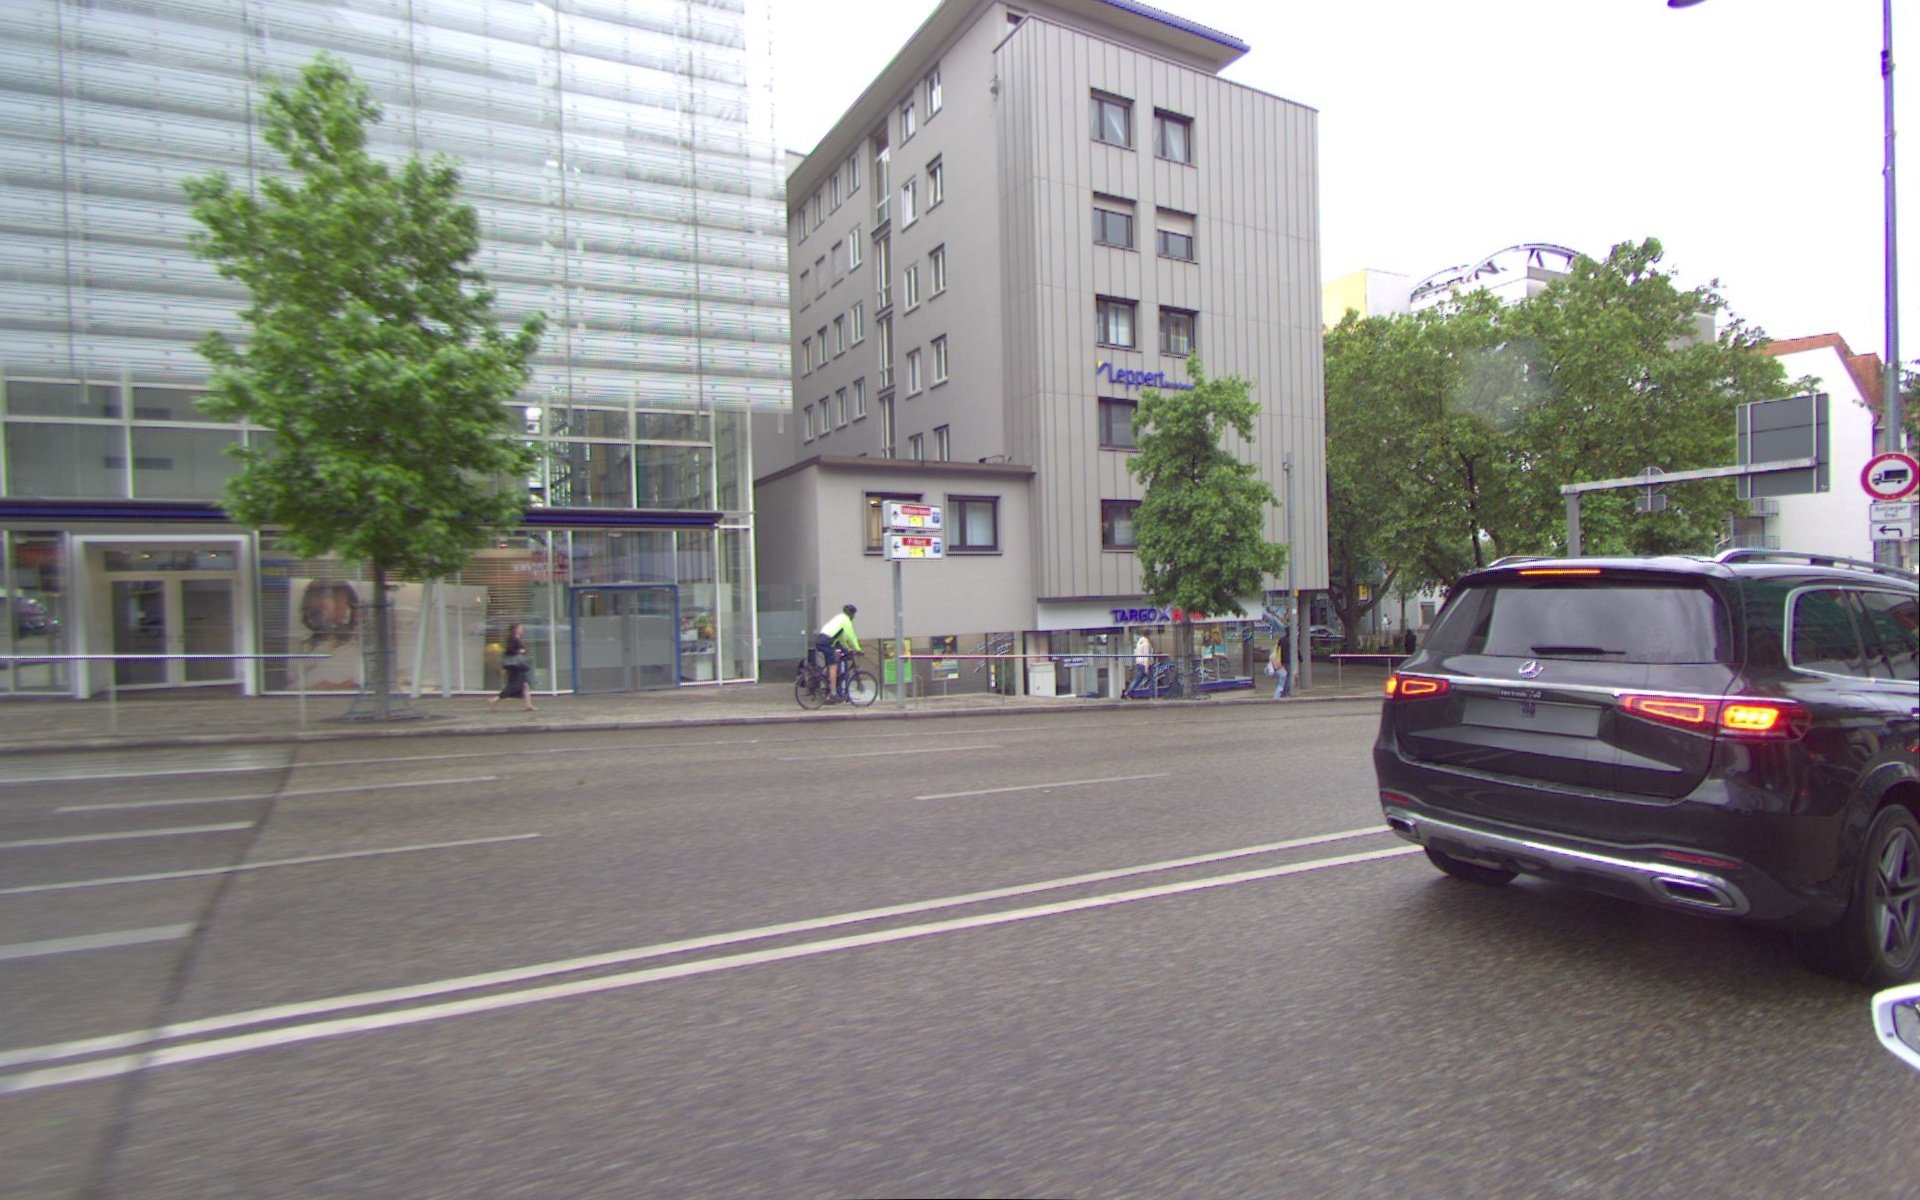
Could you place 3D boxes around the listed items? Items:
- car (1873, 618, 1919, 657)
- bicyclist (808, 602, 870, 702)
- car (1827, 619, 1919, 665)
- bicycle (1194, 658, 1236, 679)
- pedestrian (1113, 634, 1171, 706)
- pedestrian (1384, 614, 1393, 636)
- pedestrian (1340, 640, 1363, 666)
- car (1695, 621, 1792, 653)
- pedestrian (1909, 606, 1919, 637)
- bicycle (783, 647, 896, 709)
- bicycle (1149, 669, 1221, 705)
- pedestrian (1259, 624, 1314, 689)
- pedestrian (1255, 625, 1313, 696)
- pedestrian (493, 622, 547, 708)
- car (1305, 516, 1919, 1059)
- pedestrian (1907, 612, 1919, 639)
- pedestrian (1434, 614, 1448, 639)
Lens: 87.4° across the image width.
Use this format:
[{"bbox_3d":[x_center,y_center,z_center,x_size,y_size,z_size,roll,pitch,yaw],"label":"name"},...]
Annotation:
[{"bbox_3d":[43.775,1.750,44.693,4.632,1.665,1.776,2,0,44],"label":"car"},{"bbox_3d":[-2.310,1.000,19.206,0.980,1.853,0.664,2,-3,-34],"label":"bicyclist"},{"bbox_3d":[40.416,1.818,42.860,1.987,1.782,5.021,2,0,-44],"label":"car"},{"bbox_3d":[12.117,3.240,47.757,0.741,0.902,1.869,2,-1,-34],"label":"bicycle"},{"bbox_3d":[4.501,1.708,24.911,1.028,1.745,0.986,1,-2,-35],"label":"pedestrian"},{"bbox_3d":[32.603,1.907,76.452,0.496,1.732,0.618,0,-2,16],"label":"pedestrian"},{"bbox_3d":[19.796,2.653,50.789,0.935,1.289,0.758,-1,-2,31],"label":"pedestrian"},{"bbox_3d":[42.286,1.985,54.252,1.763,1.638,3.958,2,-1,-44],"label":"car"},{"bbox_3d":[58.113,1.311,60.691,0.887,1.826,0.628,0,-2,17],"label":"pedestrian"},{"bbox_3d":[-2.285,1.474,19.211,2.050,1.114,0.674,3,-3,-35],"label":"bicycle"},{"bbox_3d":[7.370,2.829,32.820,2.642,1.101,0.608,2,-1,-33],"label":"bicycle"},{"bbox_3d":[8.998,1.537,27.739,1.075,1.745,0.970,1,-2,-25],"label":"pedestrian"},{"bbox_3d":[8.119,1.492,25.143,1.302,1.735,0.809,2,-2,-39],"label":"pedestrian"},{"bbox_3d":[-7.807,1.143,17.823,0.833,1.475,0.650,1,-2,-25],"label":"pedestrian"},{"bbox_3d":[4.347,0.662,5.540,4.739,1.841,2.076,1,1,-32],"label":"car"},{"bbox_3d":[56.993,1.515,59.659,0.907,1.629,0.564,0,-2,17],"label":"pedestrian"},{"bbox_3d":[35.031,1.945,73.180,0.825,1.802,0.610,1,-2,-40],"label":"pedestrian"}]
